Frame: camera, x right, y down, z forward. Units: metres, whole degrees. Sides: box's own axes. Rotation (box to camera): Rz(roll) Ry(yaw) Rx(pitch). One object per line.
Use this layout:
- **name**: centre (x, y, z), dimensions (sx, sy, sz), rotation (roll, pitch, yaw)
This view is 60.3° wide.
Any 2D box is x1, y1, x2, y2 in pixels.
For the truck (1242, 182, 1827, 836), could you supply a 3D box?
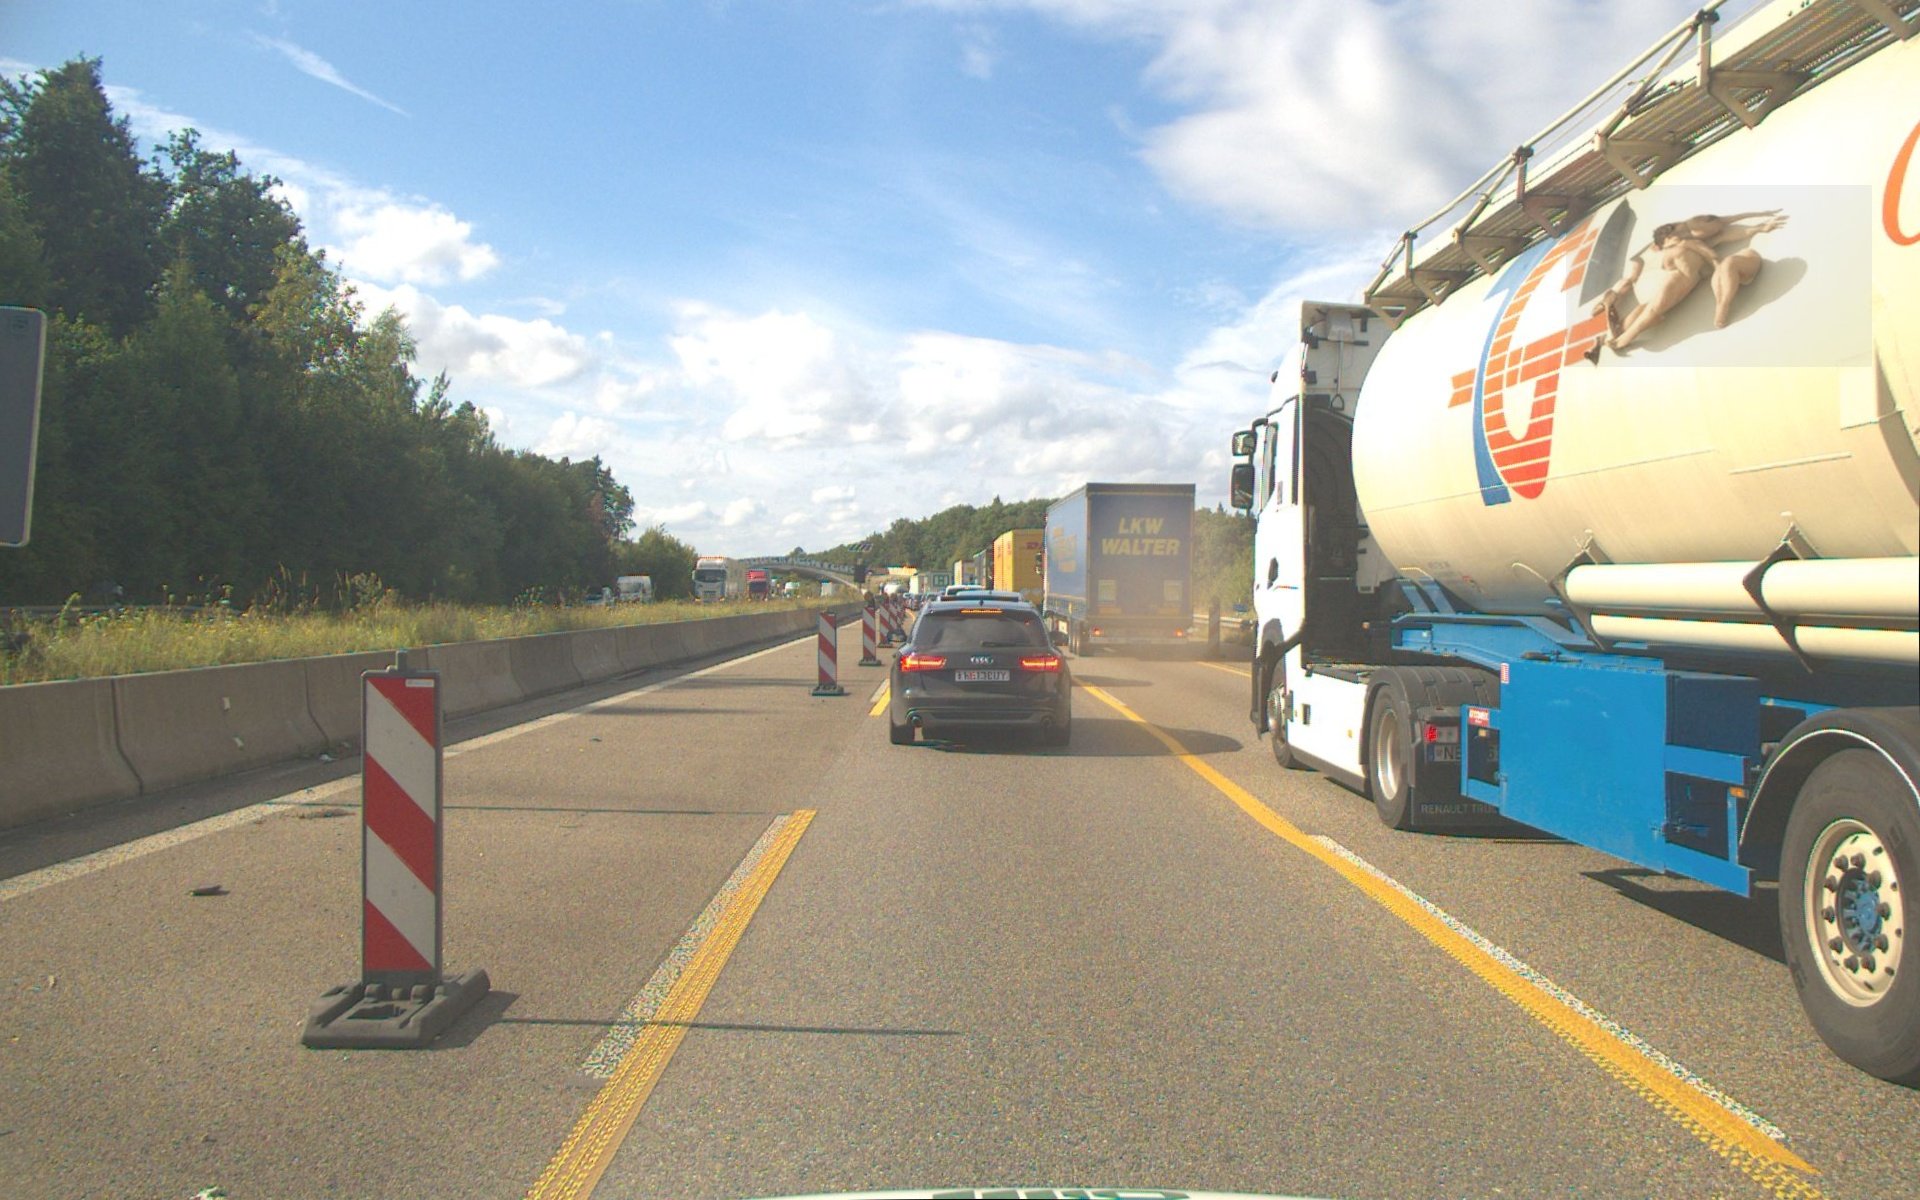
- **truck**: centre (4.089, -0.554, 13.219), dimensions (2.604, 4.041, 5.778), rotation (1, 0, 0)

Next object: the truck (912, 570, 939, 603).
- **truck**: centre (-4.761, -1.812, 225.035), dimensions (3.238, 4.248, 9.696), rotation (1, 0, -3)

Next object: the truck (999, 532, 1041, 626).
- **truck**: centre (2.608, -0.885, 72.673), dimensions (1.577, 3.965, 4.071), rotation (1, 0, -1)

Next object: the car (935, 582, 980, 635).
- **car**: centre (-0.083, 0.306, 59.699), dimensions (1.549, 1.869, 3.111), rotation (1, 0, 0)

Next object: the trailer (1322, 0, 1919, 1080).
- **trailer**: centre (4.120, -0.587, 6.327), dimensions (2.590, 4.012, 12.596), rotation (1, 0, 0)

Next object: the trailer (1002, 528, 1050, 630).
- **trailer**: centre (2.683, -0.822, 68.410), dimensions (1.584, 3.987, 6.487), rotation (1, 0, -1)

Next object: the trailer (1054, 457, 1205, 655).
- **trailer**: centre (4.184, -0.982, 43.052), dimensions (2.748, 4.490, 10.431), rotation (1, 0, 0)

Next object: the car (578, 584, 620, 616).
- **car**: centre (-24.053, -0.008, 110.313), dimensions (1.953, 2.049, 4.000), rotation (1, 0, 0)

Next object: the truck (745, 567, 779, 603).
- **truck**: centre (-23.267, -1.710, 194.553), dimensions (2.743, 4.062, 10.185), rotation (1, 0, 0)

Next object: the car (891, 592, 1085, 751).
- **car**: centre (0.260, 0.683, 17.565), dimensions (1.811, 1.489, 4.000), rotation (0, 0, 0)

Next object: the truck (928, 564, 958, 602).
- **truck**: centre (-2.079, -1.955, 194.034), dimensions (3.237, 4.248, 9.698), rotation (0, 0, -2)

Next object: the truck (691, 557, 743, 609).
- **truck**: centre (-19.916, -1.345, 136.245), dimensions (2.725, 4.054, 10.860), rotation (1, 0, -1)

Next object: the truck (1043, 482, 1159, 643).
- **truck**: centre (4.121, -1.020, 50.042), dimensions (2.749, 4.446, 7.791), rotation (1, 0, 0)

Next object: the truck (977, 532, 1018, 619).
- **truck**: centre (2.202, -1.422, 99.901), dimensions (1.953, 5.000, 9.559), rotation (1, 0, -2)

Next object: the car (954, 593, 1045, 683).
- **car**: centre (0.651, 0.636, 29.044), dimensions (1.493, 1.464, 3.284), rotation (1, 0, 0)

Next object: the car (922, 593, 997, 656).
- **car**: centre (-0.014, 0.573, 40.052), dimensions (1.716, 1.421, 3.607), rotation (1, 0, 0)

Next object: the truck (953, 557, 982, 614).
- **truck**: centre (0.550, -1.101, 130.820), dimensions (2.094, 4.332, 7.070), rotation (1, 0, -1)

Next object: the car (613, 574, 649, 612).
- **car**: centre (-23.894, -0.495, 120.176), dimensions (2.208, 2.689, 5.011), rotation (1, 0, -7)
